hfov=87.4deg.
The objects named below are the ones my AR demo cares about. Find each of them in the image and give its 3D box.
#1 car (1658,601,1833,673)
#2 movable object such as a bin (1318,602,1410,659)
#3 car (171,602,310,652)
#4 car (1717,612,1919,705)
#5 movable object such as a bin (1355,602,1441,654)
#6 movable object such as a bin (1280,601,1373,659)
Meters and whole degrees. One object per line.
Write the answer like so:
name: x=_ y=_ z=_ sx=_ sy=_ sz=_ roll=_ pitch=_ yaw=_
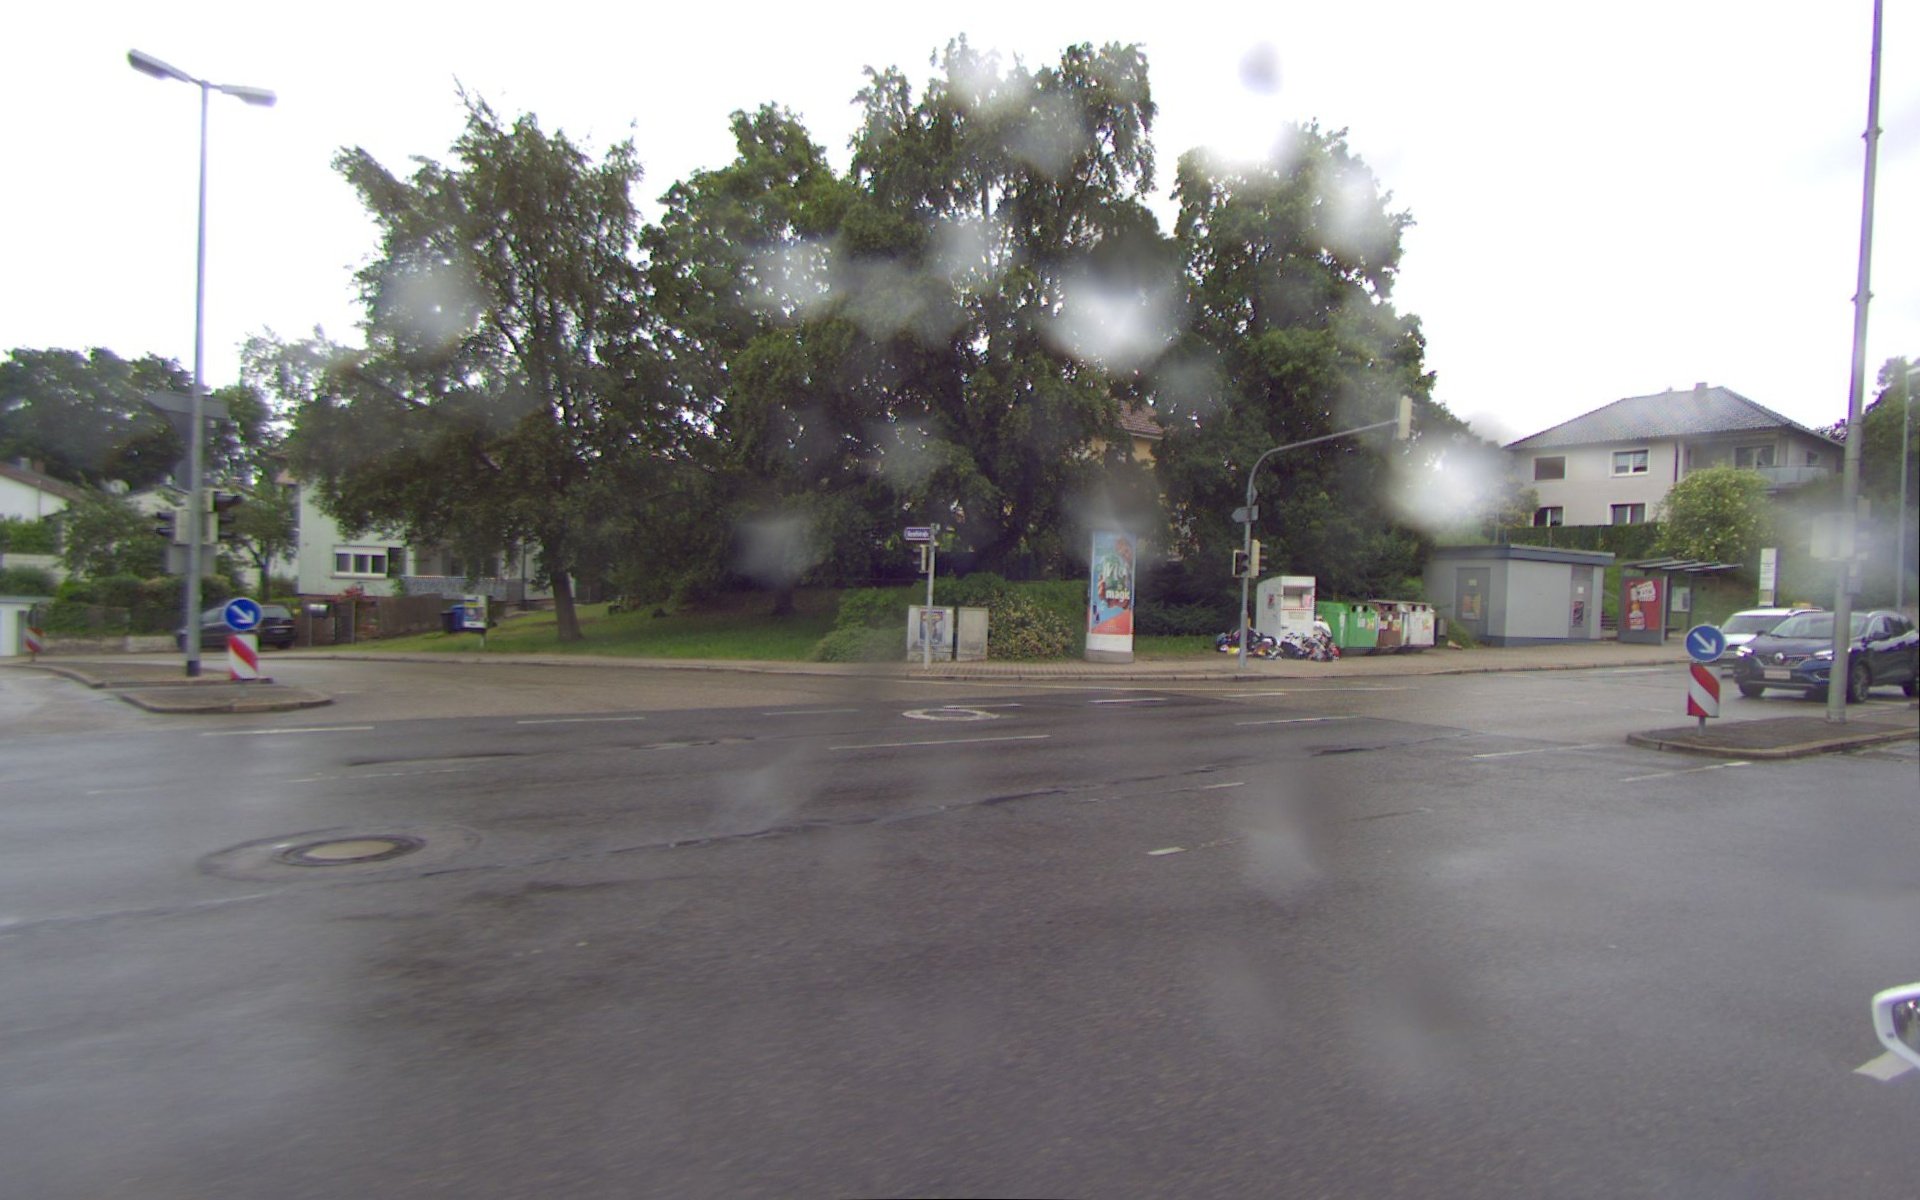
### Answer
car: x=19.804 y=0.930 z=25.297 sx=4.409 sy=1.679 sz=1.817 roll=1 pitch=-1 yaw=-27
movable object such as a bin: x=12.051 y=0.875 z=30.020 sx=1.560 sy=1.590 sz=2.051 roll=-1 pitch=0 yaw=-26
car: x=-26.092 y=0.972 z=36.454 sx=4.111 sy=1.726 sz=1.940 roll=0 pitch=-1 yaw=16
car: x=16.252 y=1.041 z=18.922 sx=4.337 sy=1.572 sz=1.830 roll=2 pitch=-1 yaw=-33
movable object such as a bin: x=13.337 y=0.824 z=30.668 sx=1.326 sy=1.535 sz=2.051 roll=-1 pitch=0 yaw=-26
movable object such as a bin: x=10.657 y=0.836 z=29.278 sx=1.560 sy=1.590 sz=2.051 roll=-1 pitch=0 yaw=-26
